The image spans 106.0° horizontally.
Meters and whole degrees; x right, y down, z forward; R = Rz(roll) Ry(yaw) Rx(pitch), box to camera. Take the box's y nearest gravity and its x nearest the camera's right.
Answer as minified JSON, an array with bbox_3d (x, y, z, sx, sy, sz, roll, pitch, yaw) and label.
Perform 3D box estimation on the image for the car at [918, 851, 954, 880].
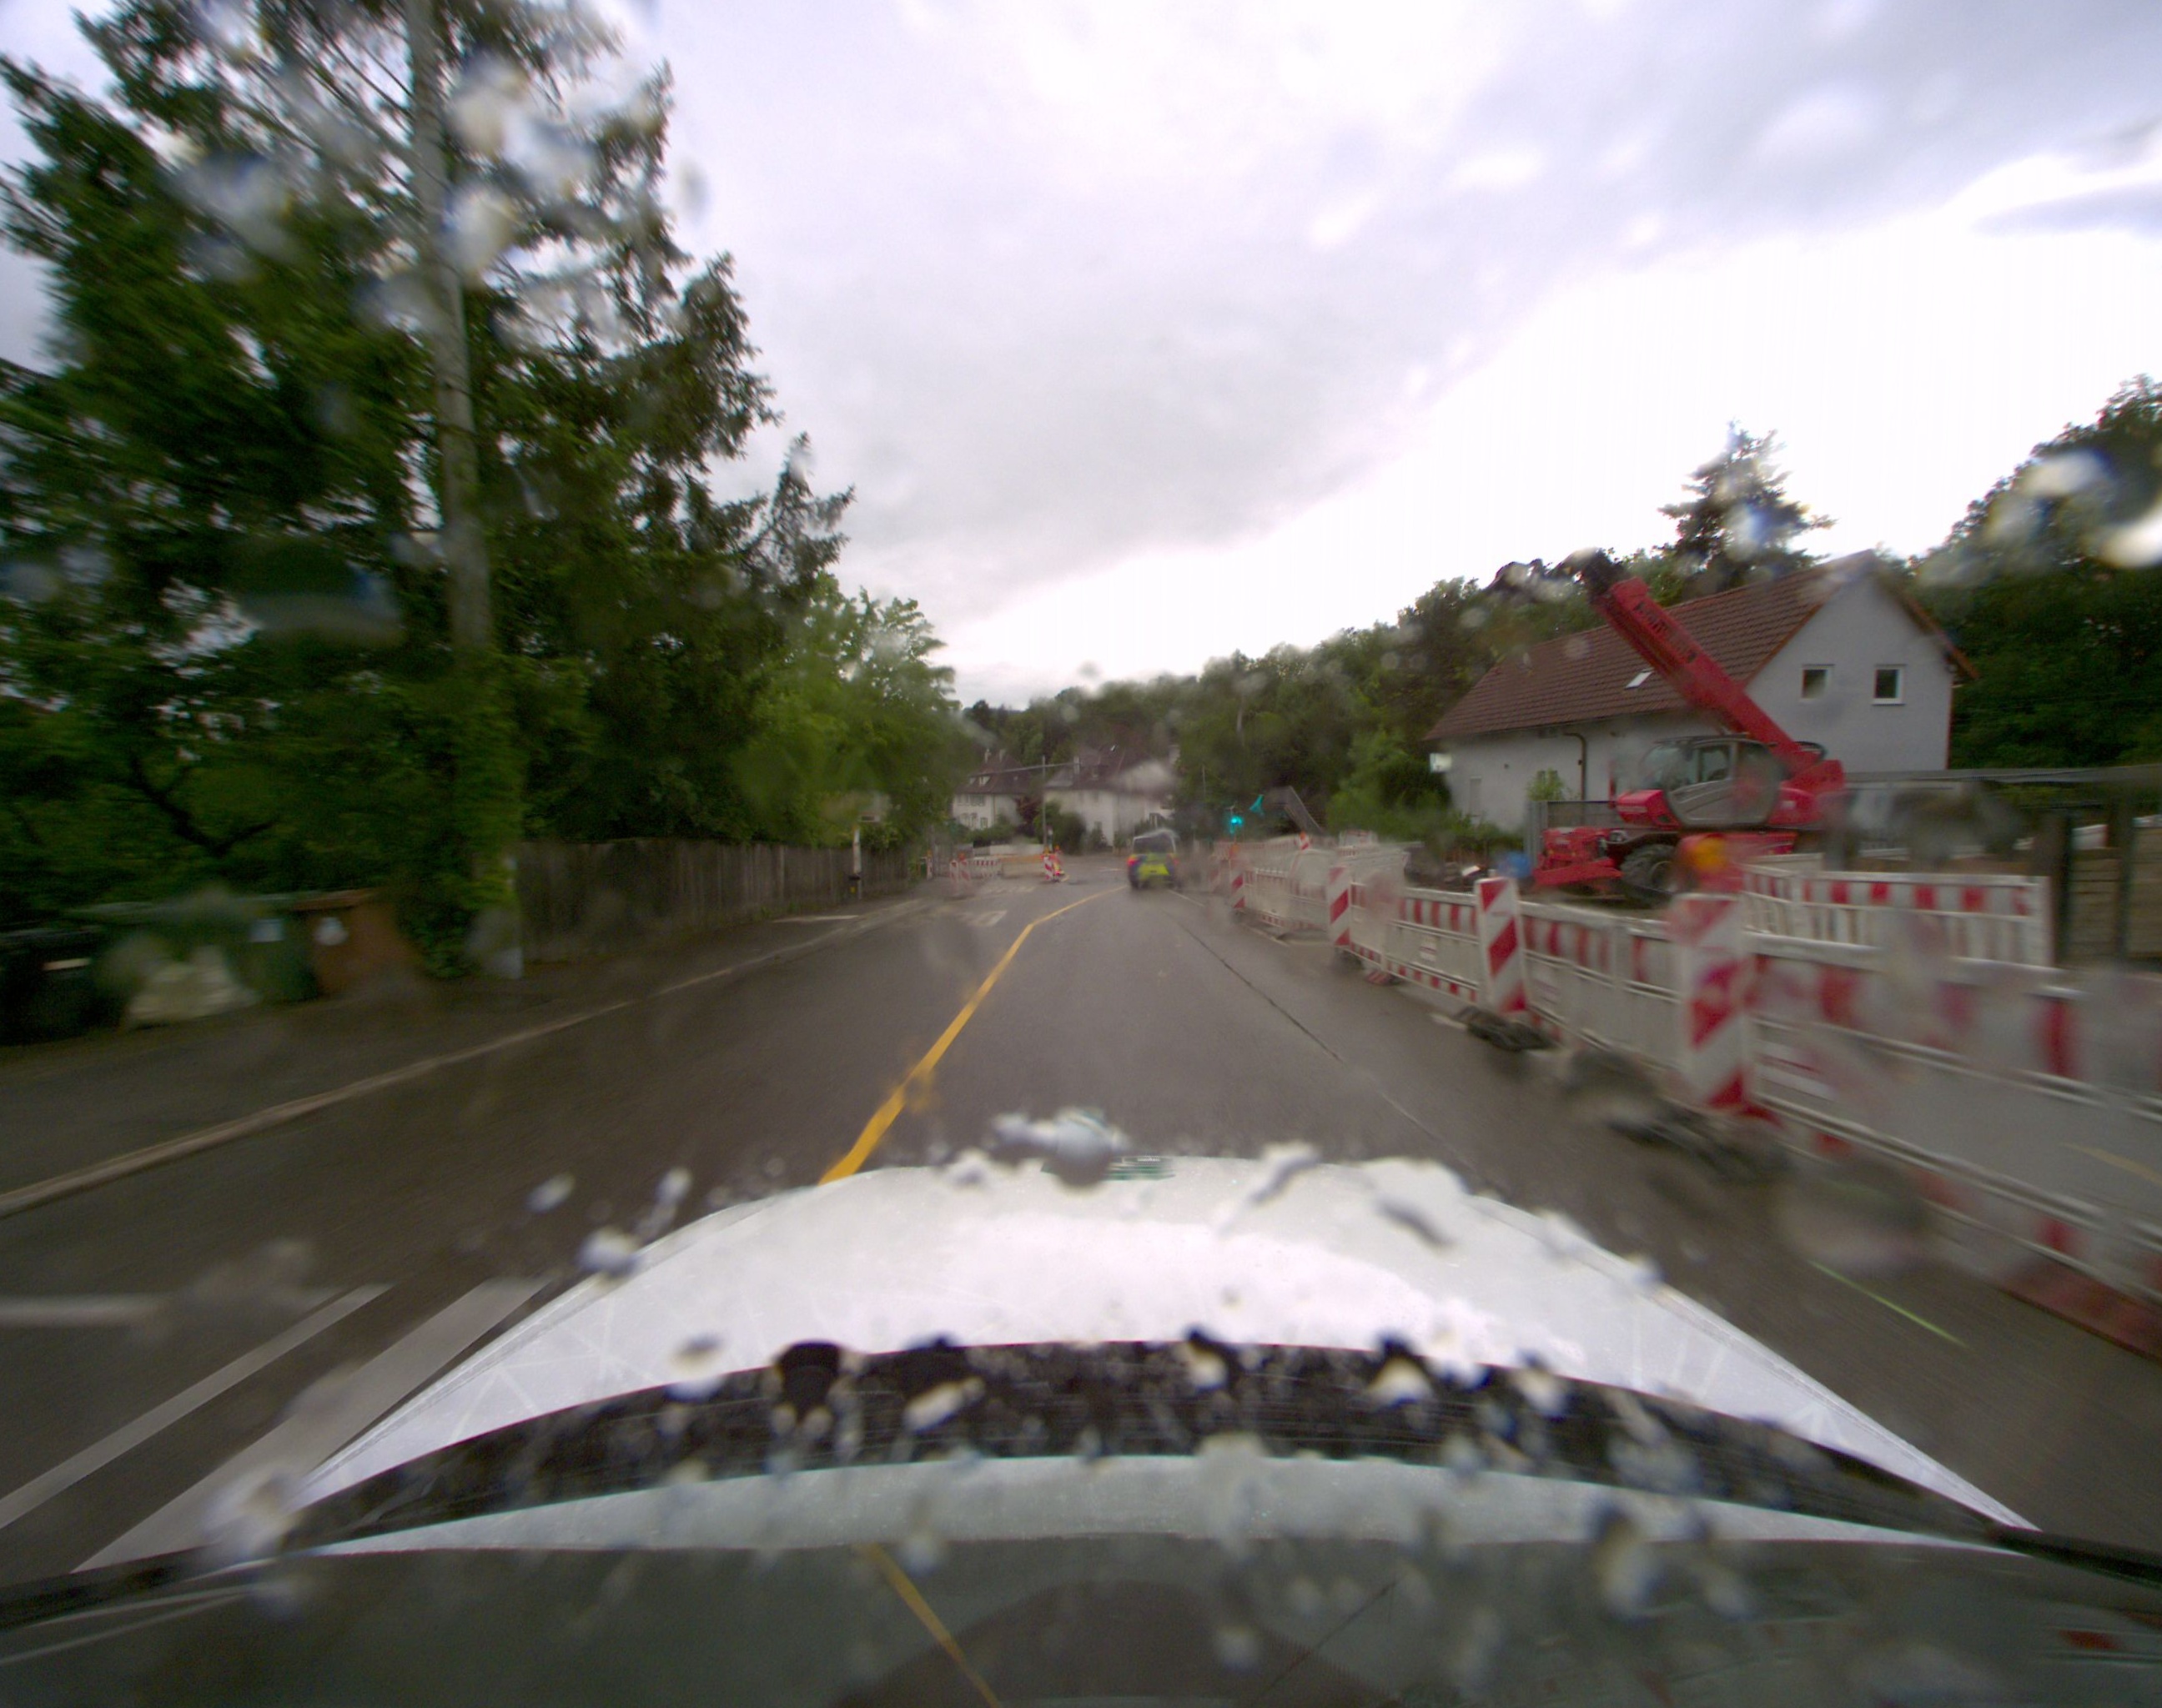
[{"bbox_3d":[-11.193,0.867,62.557,2.000,2.013,4.776,-3,0,-19],"label":"car"}]

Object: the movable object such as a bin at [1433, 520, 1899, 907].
[{"bbox_3d":[11.022,-2.532,15.841,6.935,6.689,3.042,-2,0,-4],"label":"movable object such as a bin"}]

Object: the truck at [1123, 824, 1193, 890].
[{"bbox_3d":[3.053,0.040,31.301,1.980,2.012,4.754,-2,5,13],"label":"truck"}]
